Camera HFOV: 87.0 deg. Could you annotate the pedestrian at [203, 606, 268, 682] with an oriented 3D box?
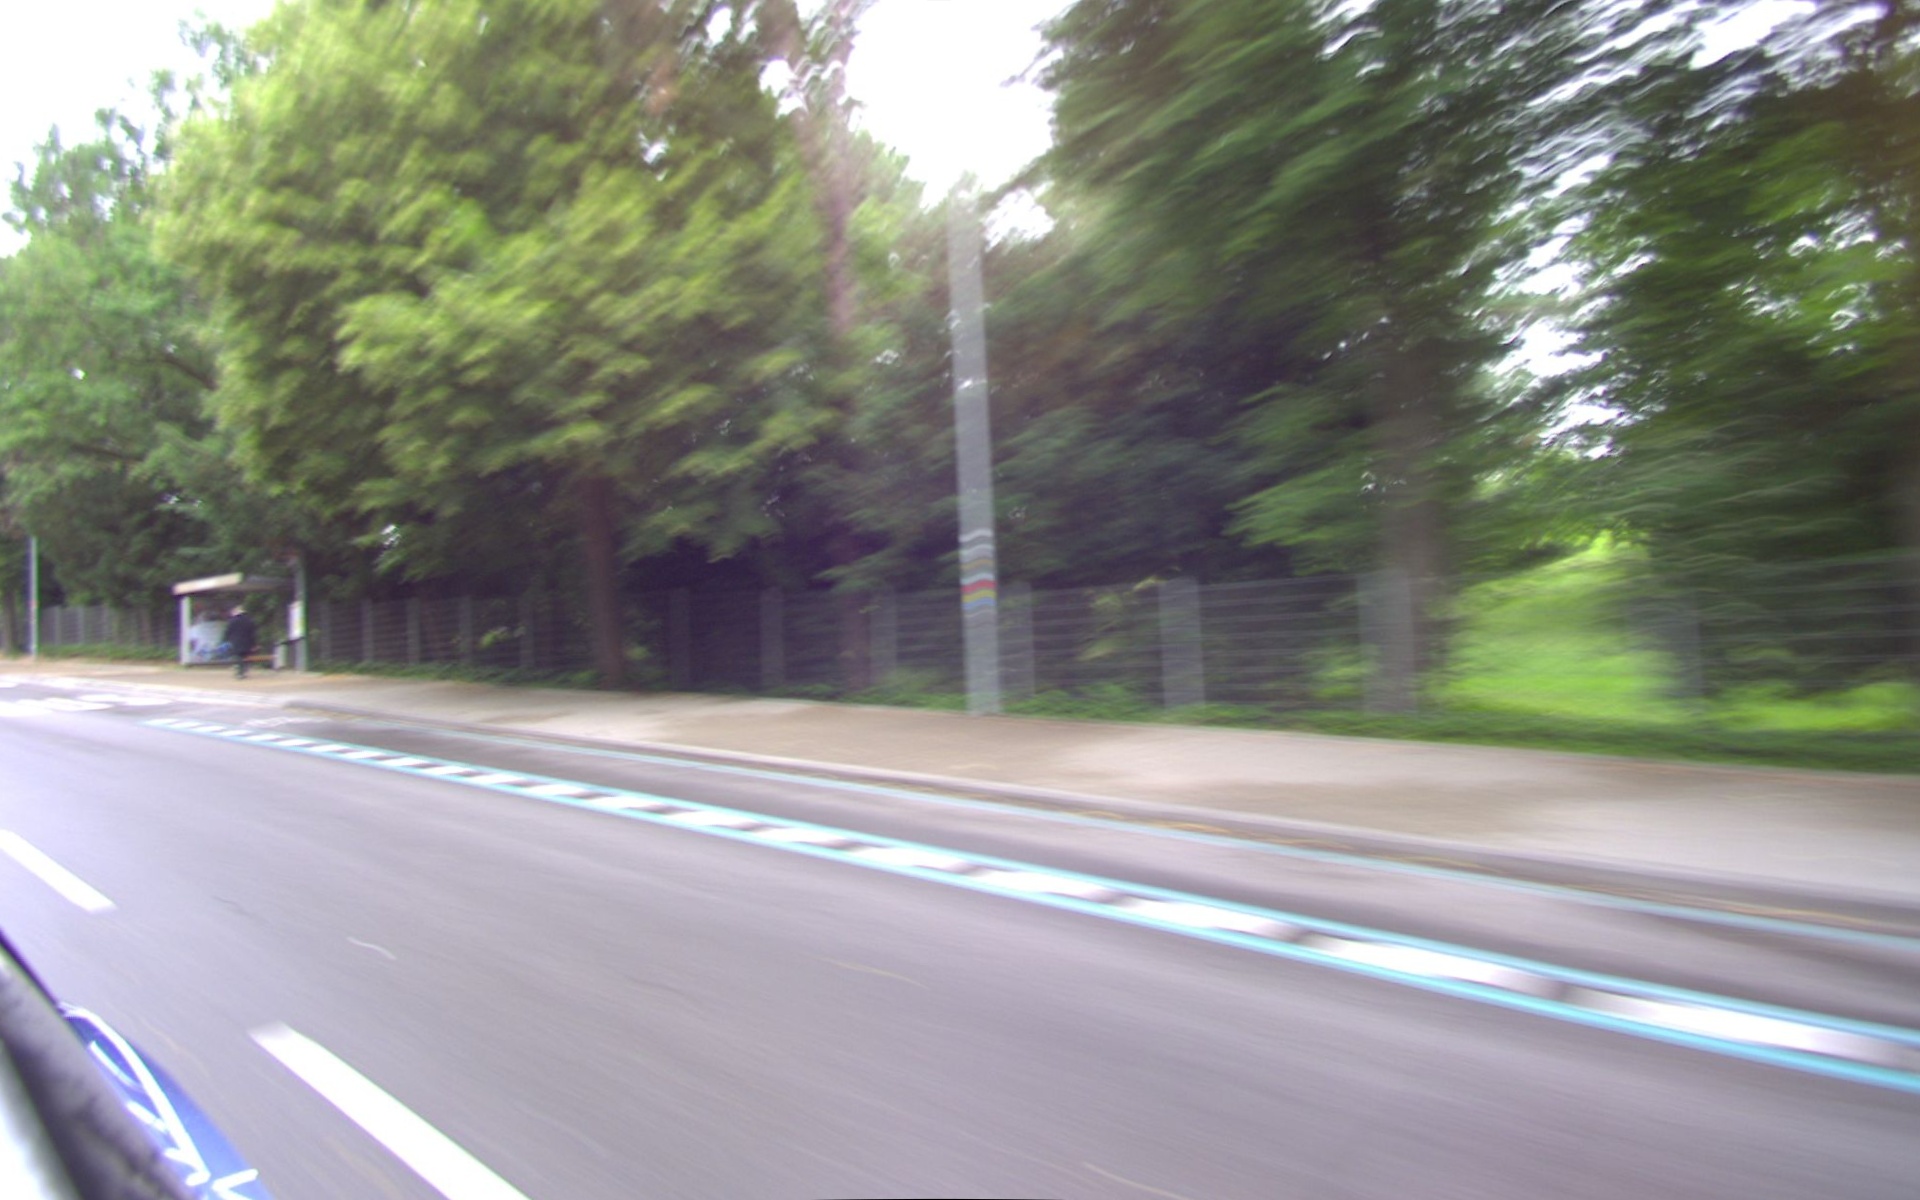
[{"bbox_3d":[-17.268,1.032,24.125,1.142,1.746,0.880,-2,-1,32],"label":"pedestrian"}]
